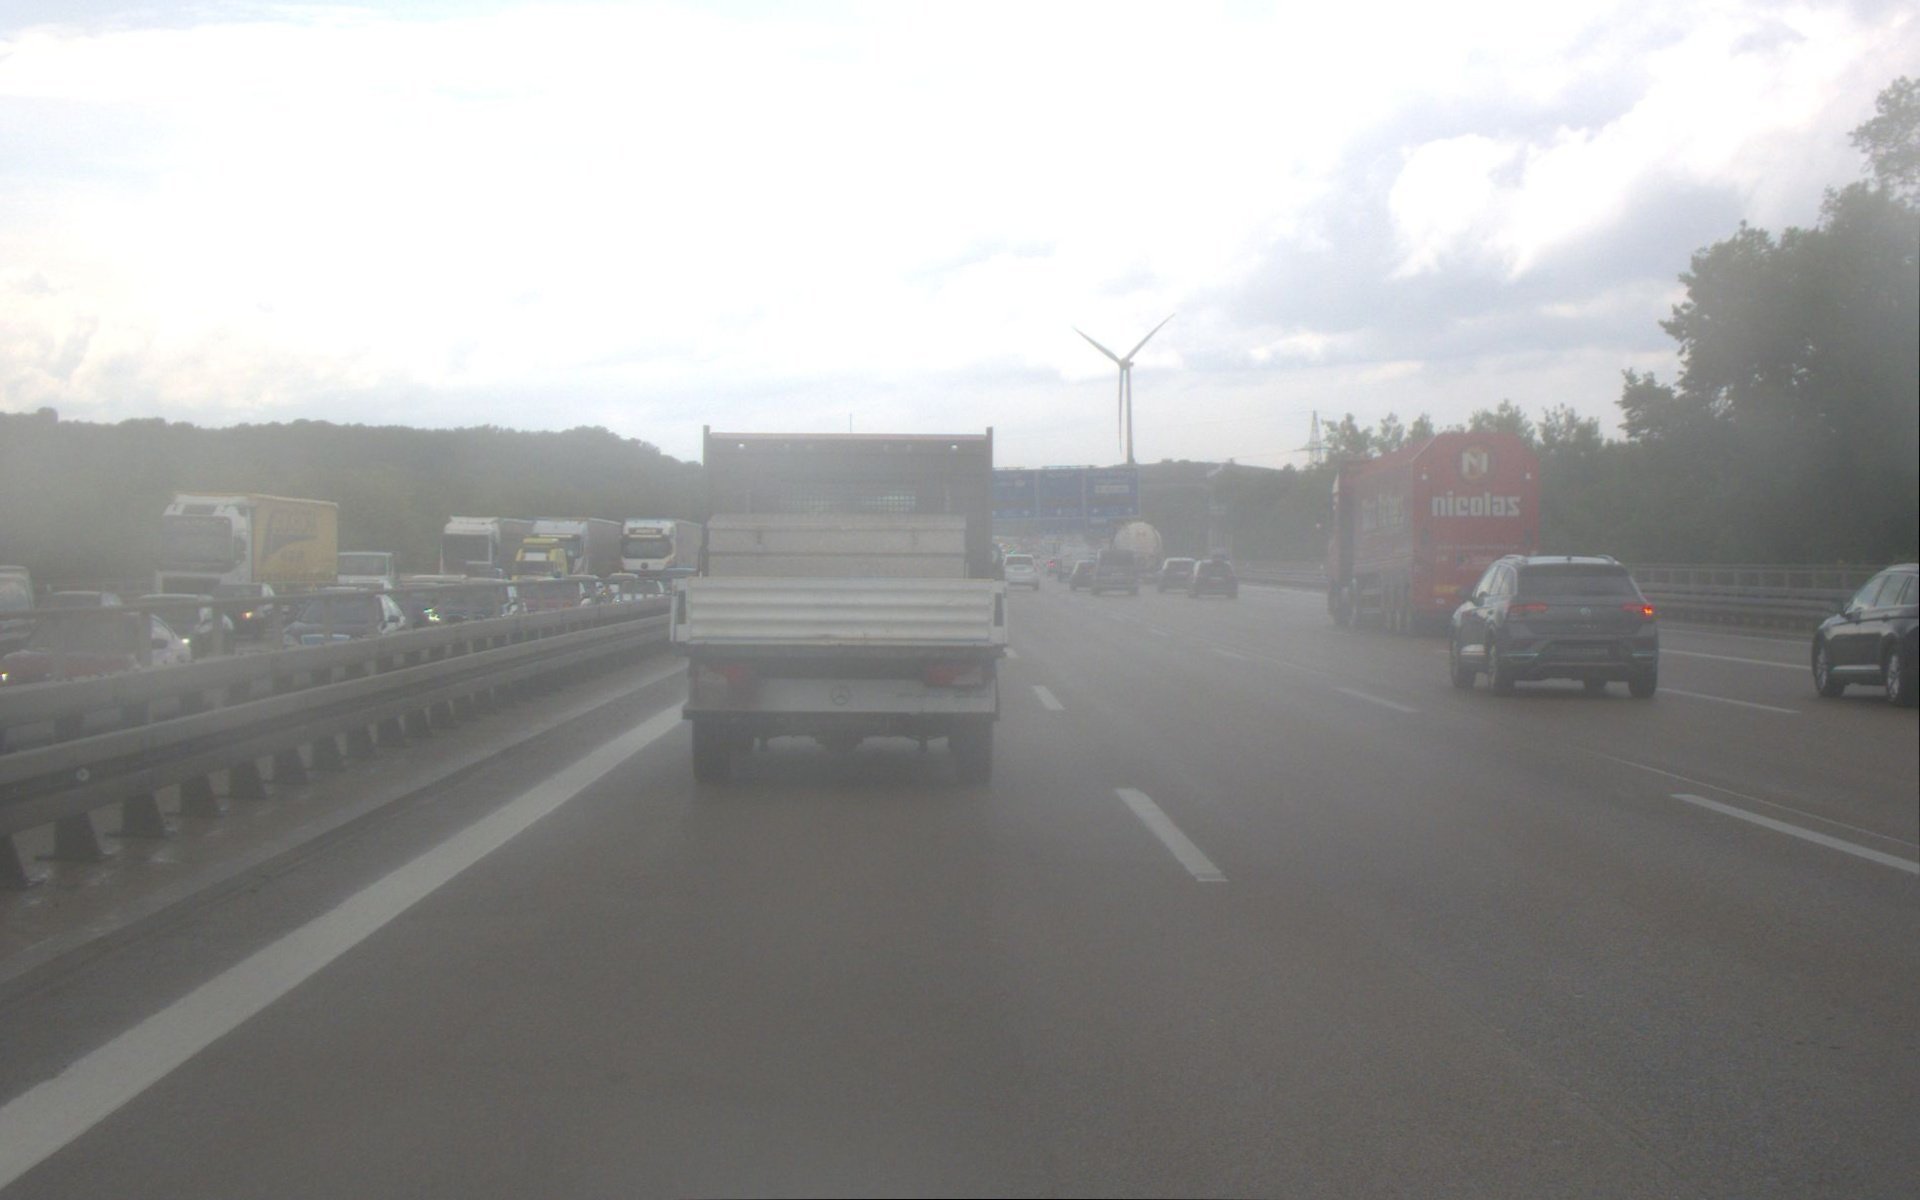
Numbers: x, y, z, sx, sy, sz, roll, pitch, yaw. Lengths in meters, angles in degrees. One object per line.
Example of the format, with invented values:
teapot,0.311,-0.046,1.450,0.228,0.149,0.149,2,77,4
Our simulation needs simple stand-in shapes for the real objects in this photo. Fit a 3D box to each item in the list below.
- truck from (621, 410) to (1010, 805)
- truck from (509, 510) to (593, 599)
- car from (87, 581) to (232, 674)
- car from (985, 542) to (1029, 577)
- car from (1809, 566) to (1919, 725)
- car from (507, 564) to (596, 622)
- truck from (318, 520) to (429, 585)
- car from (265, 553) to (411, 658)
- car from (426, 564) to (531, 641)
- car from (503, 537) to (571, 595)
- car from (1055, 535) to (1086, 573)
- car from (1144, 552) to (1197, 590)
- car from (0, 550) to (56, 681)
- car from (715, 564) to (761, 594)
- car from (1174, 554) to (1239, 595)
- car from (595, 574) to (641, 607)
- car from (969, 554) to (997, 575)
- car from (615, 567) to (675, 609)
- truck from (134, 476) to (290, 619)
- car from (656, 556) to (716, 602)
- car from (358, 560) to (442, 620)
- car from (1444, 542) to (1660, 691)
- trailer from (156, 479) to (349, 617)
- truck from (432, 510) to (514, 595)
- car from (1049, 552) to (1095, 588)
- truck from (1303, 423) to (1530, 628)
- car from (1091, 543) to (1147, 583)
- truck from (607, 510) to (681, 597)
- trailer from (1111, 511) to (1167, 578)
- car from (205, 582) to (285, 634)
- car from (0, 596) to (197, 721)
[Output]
truck,-0.975,-0.017,24.755,2.353,2.400,7.359,1,1,-1
truck,-19.487,-2.159,164.158,2.904,4.133,7.101,-1,1,2
car,-15.103,0.488,65.048,1.863,1.607,4.464,-1,1,-3
car,2.293,-1.978,168.239,1.972,1.693,4.000,0,1,-1
car,10.352,0.433,35.868,1.815,1.538,4.358,0,1,-1
car,-11.007,-0.203,92.836,1.994,1.458,4.842,-1,1,-2
truck,-22.695,-1.842,133.543,2.680,2.363,9.275,-1,1,0
car,-11.536,0.054,64.067,1.865,1.820,5.710,-1,1,-2
car,-11.091,0.023,79.515,1.867,1.664,5.174,-1,1,-2
car,-18.698,-1.512,152.176,2.156,2.496,6.773,-1,1,0
car,7.314,-3.071,227.503,2.045,2.489,4.000,0,1,2
car,9.796,-1.367,160.438,2.045,1.693,5.007,0,1,-1
car,-14.854,0.237,50.209,1.893,1.895,5.001,-1,1,1
car,-10.881,-1.040,168.769,1.922,1.414,5.165,-1,1,0
car,9.855,-1.044,137.813,2.105,1.600,5.066,0,1,-1
car,-15.156,-0.431,152.462,1.601,1.382,4.100,-1,1,0
car,1.583,-2.467,238.362,1.812,1.441,4.000,-1,1,-1
car,-11.001,-0.432,120.134,1.762,1.378,4.821,-1,1,-2
truck,-23.086,-1.623,106.458,3.247,4.235,6.882,-1,1,0
car,-10.899,-0.844,136.903,1.913,1.760,5.331,-1,1,0
car,-15.647,-0.311,96.234,1.779,1.606,4.578,-1,1,-3
car,6.531,0.157,38.252,1.792,1.557,3.722,0,1,1
trailer,-23.056,-1.697,113.037,3.247,4.213,14.510,-1,1,0
truck,-23.341,-2.271,164.937,2.759,3.980,6.576,-1,1,2
car,5.399,-1.458,166.418,2.045,1.693,4.000,0,1,0
truck,9.677,-1.598,74.838,3.152,3.989,15.637,0,1,1
car,6.817,-1.596,147.696,2.097,1.693,4.000,0,1,-1
truck,-15.519,-2.290,169.210,2.880,4.166,7.557,-1,1,0
trailer,11.294,-3.501,218.154,3.333,4.161,11.837,1,1,2
car,-19.034,0.190,91.597,1.447,1.296,4.000,-1,1,-3
car,-11.116,0.698,43.588,1.873,1.387,5.366,-1,1,-2
